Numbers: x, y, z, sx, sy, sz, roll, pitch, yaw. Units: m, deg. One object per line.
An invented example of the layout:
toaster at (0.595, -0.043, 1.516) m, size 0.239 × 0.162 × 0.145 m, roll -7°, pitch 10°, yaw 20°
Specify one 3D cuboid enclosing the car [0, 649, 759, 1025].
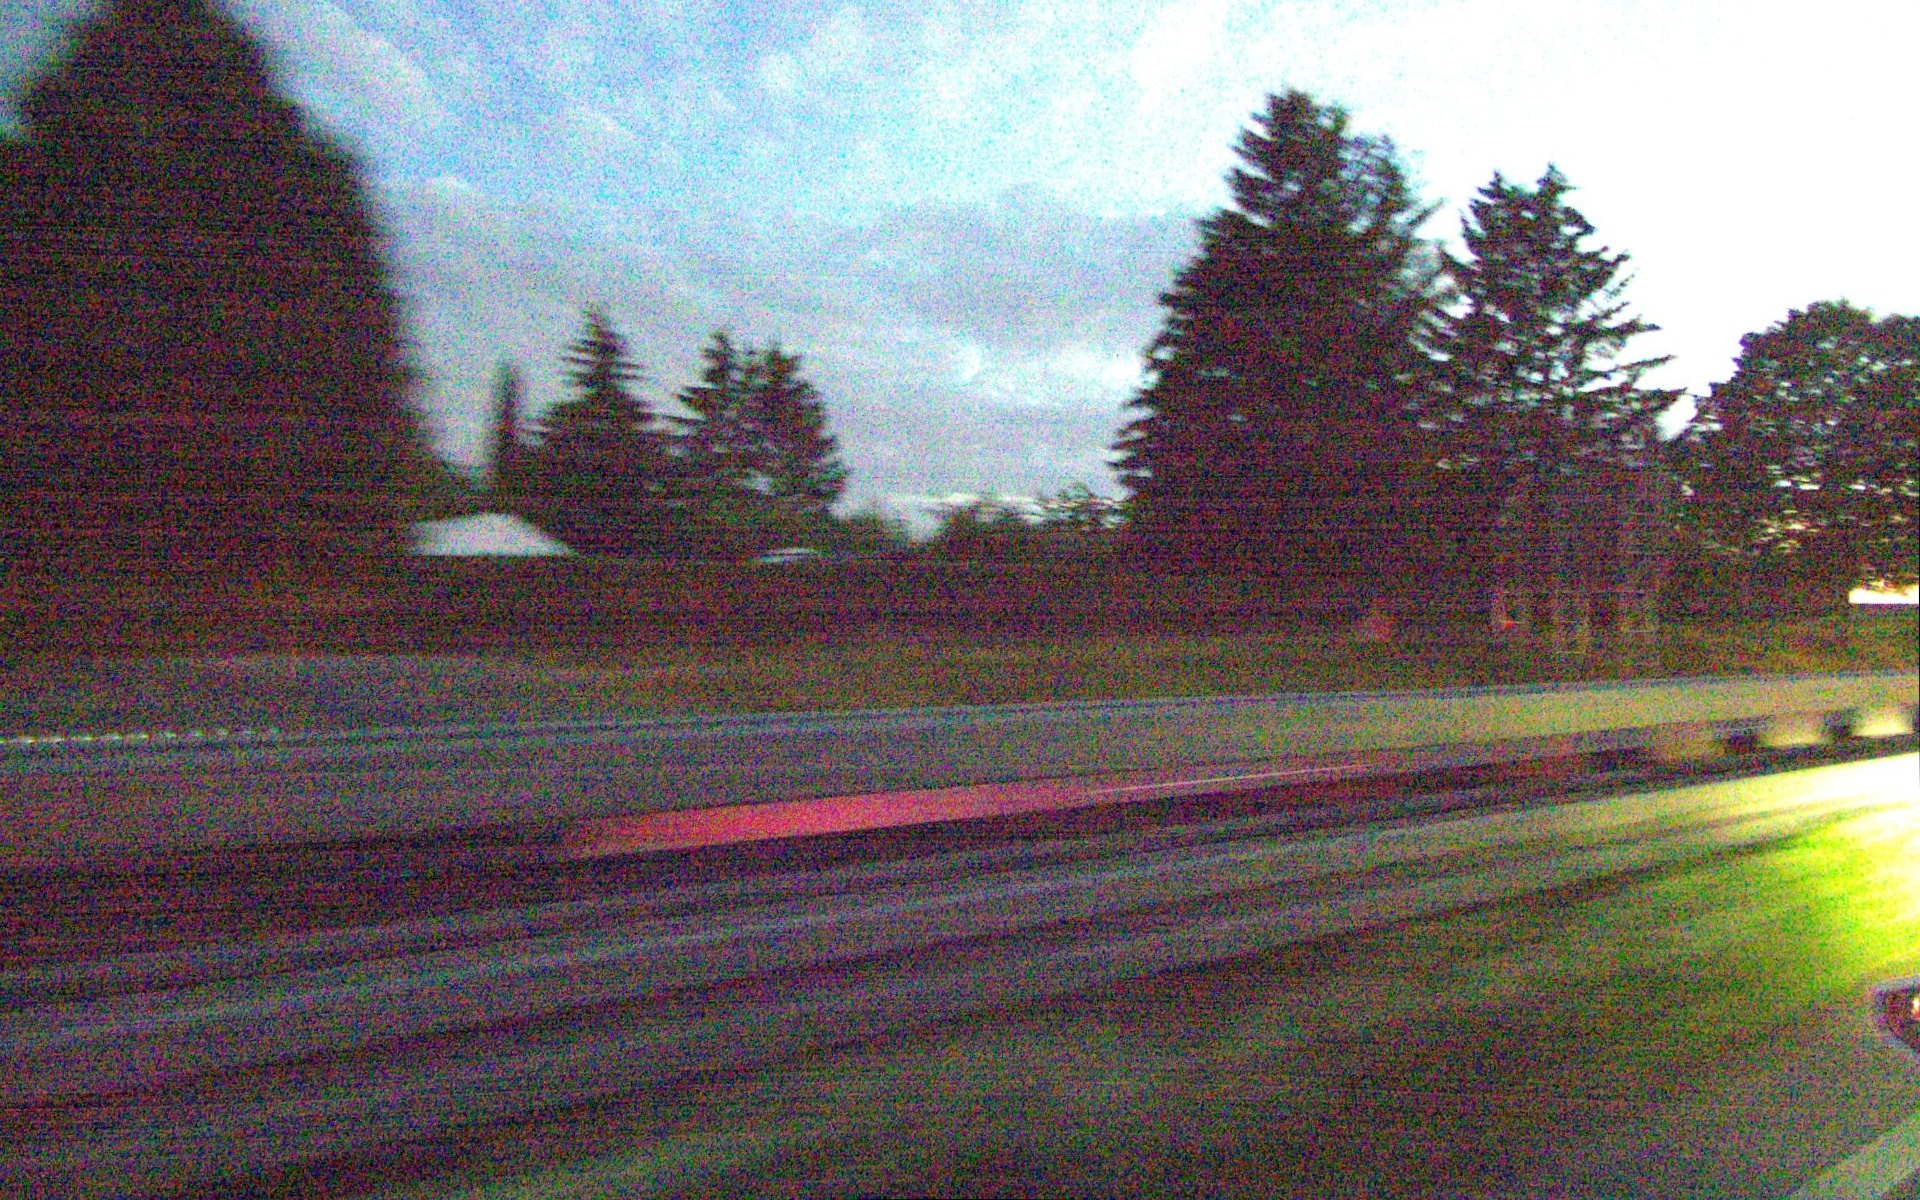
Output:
car at (-3.511, 1.013, 5.219) m, size 4.521 × 1.426 × 1.711 m, roll 2°, pitch 0°, yaw -31°
